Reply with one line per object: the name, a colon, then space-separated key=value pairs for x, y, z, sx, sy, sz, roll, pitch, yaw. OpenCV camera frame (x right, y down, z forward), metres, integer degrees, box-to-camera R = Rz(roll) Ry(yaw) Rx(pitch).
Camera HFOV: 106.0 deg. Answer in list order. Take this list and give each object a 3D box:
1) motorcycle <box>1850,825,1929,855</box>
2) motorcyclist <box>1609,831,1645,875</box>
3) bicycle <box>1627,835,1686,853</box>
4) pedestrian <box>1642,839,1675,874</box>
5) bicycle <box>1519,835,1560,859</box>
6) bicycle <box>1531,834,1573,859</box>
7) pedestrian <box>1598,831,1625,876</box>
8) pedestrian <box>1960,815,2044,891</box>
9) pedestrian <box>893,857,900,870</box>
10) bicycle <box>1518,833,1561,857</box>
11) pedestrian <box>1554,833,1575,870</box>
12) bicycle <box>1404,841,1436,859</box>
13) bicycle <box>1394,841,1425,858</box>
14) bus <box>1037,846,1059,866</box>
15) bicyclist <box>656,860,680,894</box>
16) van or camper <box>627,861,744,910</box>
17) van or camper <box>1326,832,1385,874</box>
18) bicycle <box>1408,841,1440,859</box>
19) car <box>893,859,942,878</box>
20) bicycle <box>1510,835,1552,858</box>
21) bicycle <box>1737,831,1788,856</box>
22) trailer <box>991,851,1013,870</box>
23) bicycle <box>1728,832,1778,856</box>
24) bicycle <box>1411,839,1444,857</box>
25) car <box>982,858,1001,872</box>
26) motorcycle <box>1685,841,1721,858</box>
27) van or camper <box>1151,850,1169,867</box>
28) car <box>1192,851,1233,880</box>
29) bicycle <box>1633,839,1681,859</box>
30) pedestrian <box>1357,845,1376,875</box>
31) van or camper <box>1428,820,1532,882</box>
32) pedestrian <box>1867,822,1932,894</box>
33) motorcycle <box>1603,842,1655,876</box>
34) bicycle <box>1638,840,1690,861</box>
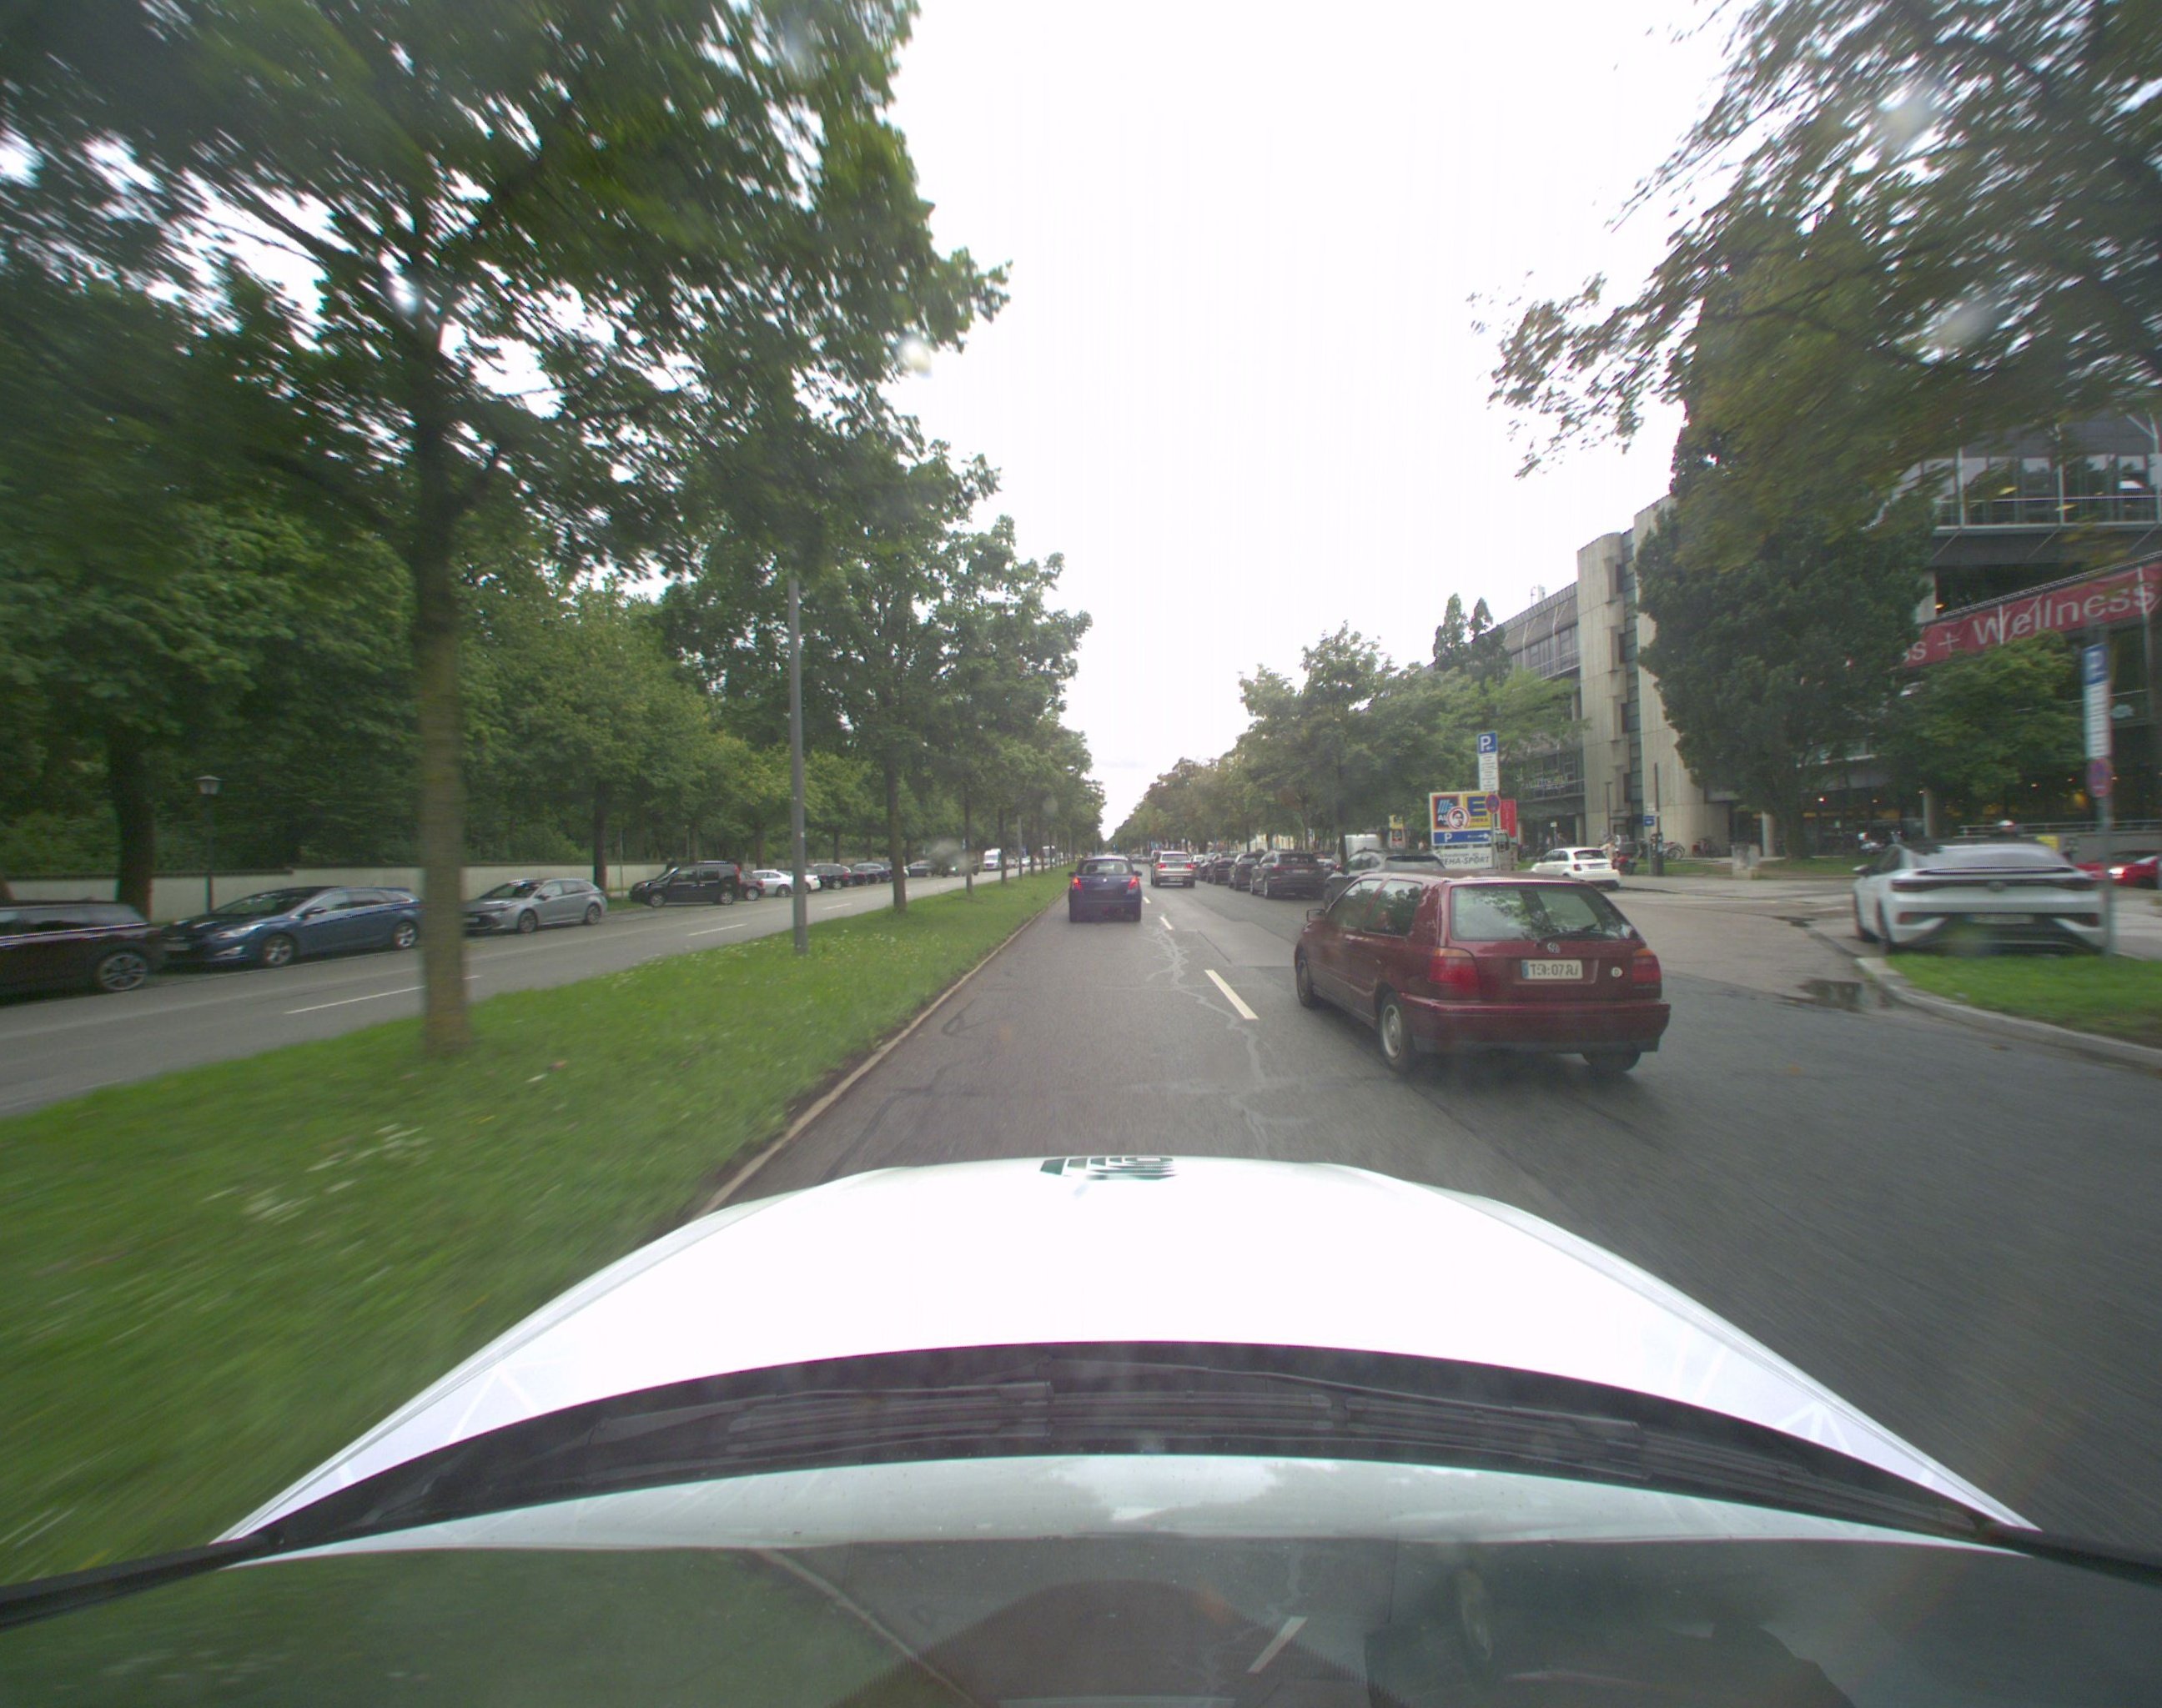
motorcycle: x=34.936 y=-0.579 z=35.247 sx=0.867 sy=1.229 sz=2.374 roll=-3 pitch=0 yaw=-5
motorcyclist: x=22.712 y=-0.041 z=33.891 sx=0.688 sy=1.737 sz=0.954 roll=-6 pitch=0 yaw=2
bicycle: x=29.534 y=-0.501 z=41.821 sx=0.776 sy=0.870 sz=2.373 roll=-1 pitch=0 yaw=-44
pedestrian: x=22.771 y=0.100 z=32.124 sx=0.728 sy=1.290 sz=0.699 roll=-4 pitch=-1 yaw=6
bicycle: x=30.070 y=-0.468 z=53.414 sx=2.618 sy=1.508 sz=0.793 roll=-2 pitch=0 yaw=-20
bicycle: x=30.389 y=-0.478 z=52.527 sx=2.618 sy=1.508 sz=0.793 roll=-2 pitch=0 yaw=-20
pedestrian: x=21.036 y=-0.011 z=32.314 sx=0.572 sy=1.751 sz=0.733 roll=-2 pitch=0 yaw=6
pedestrian: x=21.873 y=-0.015 z=19.359 sx=0.825 sy=1.721 sz=0.940 roll=-4 pitch=0 yaw=2
pedestrian: x=-23.989 y=1.249 z=106.043 sx=0.682 sy=1.612 sz=0.685 roll=-1 pitch=0 yaw=-29
bicycle: x=30.800 y=-0.607 z=54.706 sx=2.612 sy=1.508 sz=0.795 roll=-2 pitch=0 yaw=-12
pedestrian: x=23.722 y=-0.118 z=39.981 sx=0.572 sy=1.751 sz=0.733 roll=-2 pitch=0 yaw=6
bicycle: x=30.843 y=-0.380 z=74.134 sx=2.605 sy=1.508 sz=0.797 roll=-2 pitch=0 yaw=-5
bicycle: x=31.199 y=-0.390 z=77.267 sx=2.605 sy=1.508 sz=0.797 roll=-2 pitch=0 yaw=-5
bus: x=-5.947 y=0.350 z=147.952 sx=2.727 sy=3.377 sz=12.021 roll=-3 pitch=0 yaw=3
bicyclist: x=-21.626 y=1.207 z=42.645 sx=0.702 sy=1.747 sz=0.923 roll=-2 pitch=0 yaw=2
van or camper: x=-16.715 y=1.278 z=34.489 sx=4.146 sy=1.854 sz=1.829 roll=-2 pitch=0 yaw=-39
van or camper: x=18.110 y=-0.044 z=54.005 sx=2.016 sy=2.558 sz=5.959 roll=-2 pitch=0 yaw=2
bicycle: x=30.860 y=-0.389 z=73.257 sx=2.605 sy=1.508 sz=0.797 roll=-2 pitch=0 yaw=-5
car: x=-15.637 y=1.402 z=77.961 sx=4.122 sy=1.695 sz=1.900 roll=-2 pitch=0 yaw=-32
bicycle: x=30.699 y=-0.497 z=55.596 sx=2.612 sy=1.508 sz=0.795 roll=-2 pitch=0 yaw=-12
bicycle: x=35.121 y=-0.529 z=41.962 sx=2.130 sy=1.204 sz=0.586 roll=-2 pitch=0 yaw=-1
trailer: x=-10.845 y=0.857 z=112.013 sx=2.098 sy=2.540 sz=5.579 roll=-2 pitch=0 yaw=2
bicycle: x=35.117 y=-0.529 z=42.588 sx=2.130 sy=1.204 sz=0.586 roll=-2 pitch=0 yaw=-1
bicycle: x=30.801 y=-0.513 z=72.319 sx=2.605 sy=1.508 sz=0.797 roll=-2 pitch=0 yaw=-5
car: x=-11.250 y=1.371 z=102.403 sx=1.907 sy=1.542 sz=4.187 roll=-2 pitch=0 yaw=0
motorcycle: x=32.906 y=-0.226 z=43.086 sx=0.847 sy=0.865 sz=1.572 roll=-2 pitch=0 yaw=9
van or camper: x=9.452 y=0.538 z=98.114 sx=1.937 sy=1.975 sz=4.309 roll=-1 pitch=0 yaw=3
car: x=7.555 y=0.649 z=47.172 sx=1.758 sy=1.546 sz=4.425 roll=-1 pitch=0 yaw=2
bicycle: x=30.282 y=-0.268 z=42.835 sx=2.021 sy=0.958 sz=0.751 roll=-2 pitch=0 yaw=39
pedestrian: x=17.674 y=0.379 z=50.389 sx=0.872 sy=1.851 sz=0.903 roll=0 pitch=0 yaw=0
van or camper: x=18.117 y=-0.128 z=37.365 sx=1.986 sy=2.558 sz=5.959 roll=-2 pitch=0 yaw=2
pedestrian: x=20.554 y=0.097 z=20.475 sx=0.536 sy=1.721 sz=0.988 roll=-4 pitch=0 yaw=2
motorcycle: x=22.742 y=0.190 z=33.841 sx=0.693 sy=1.290 sz=2.067 roll=-6 pitch=0 yaw=2
bicycle: x=29.112 y=-0.160 z=40.689 sx=0.751 sy=0.958 sz=2.022 roll=-1 pitch=0 yaw=-44
